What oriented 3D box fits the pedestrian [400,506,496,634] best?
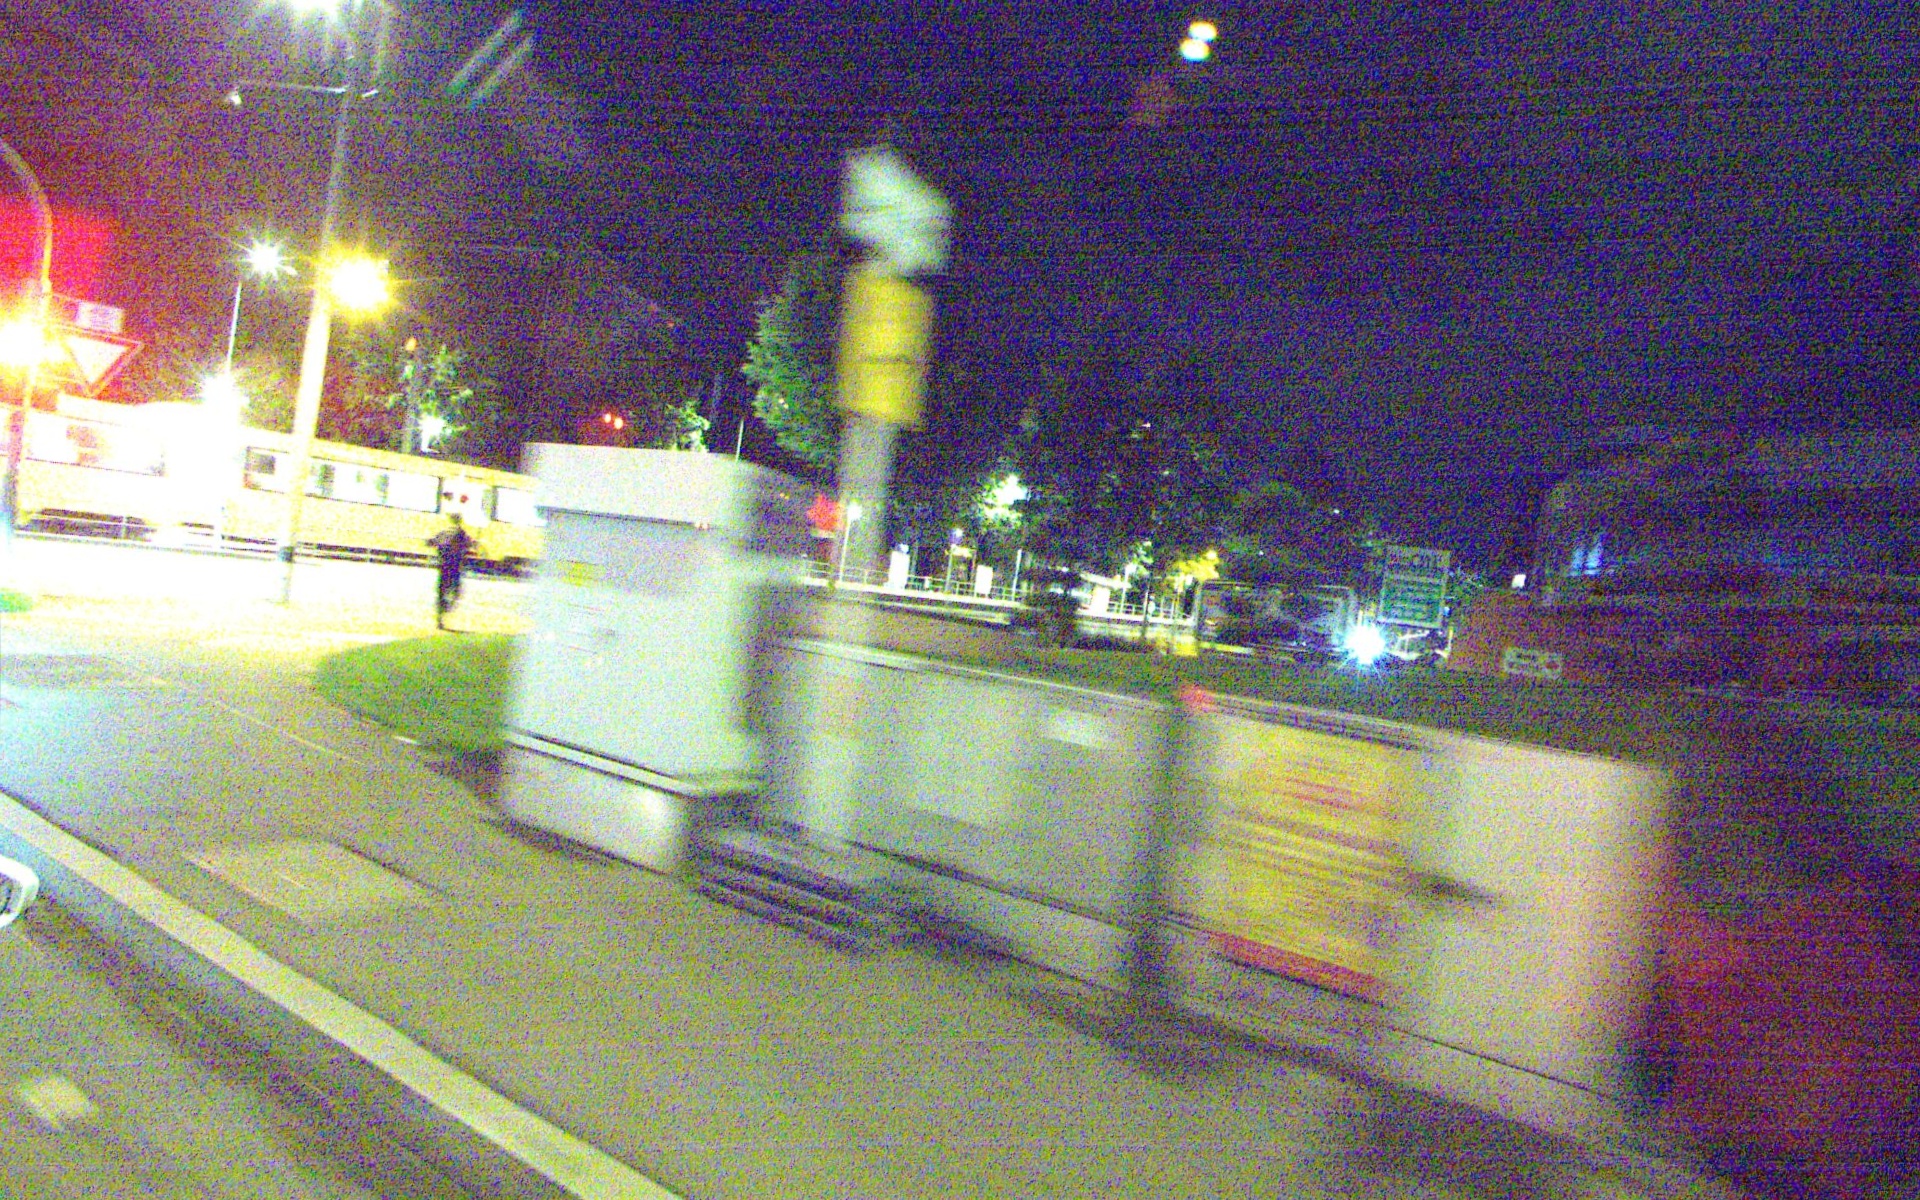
[{"bbox_3d":[-7.430,-0.427,14.607,0.763,1.734,0.899,7,2,37],"label":"pedestrian"}]

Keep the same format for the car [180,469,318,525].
[{"bbox_3d":[-28.025,-4.052,39.737,1.841,1.637,4.051,8,2,39],"label":"car"}]

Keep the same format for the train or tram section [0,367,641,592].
[{"bbox_3d":[-19.085,-3.088,31.354,2.878,3.870,19.171,7,0,36],"label":"train or tram section"}]
